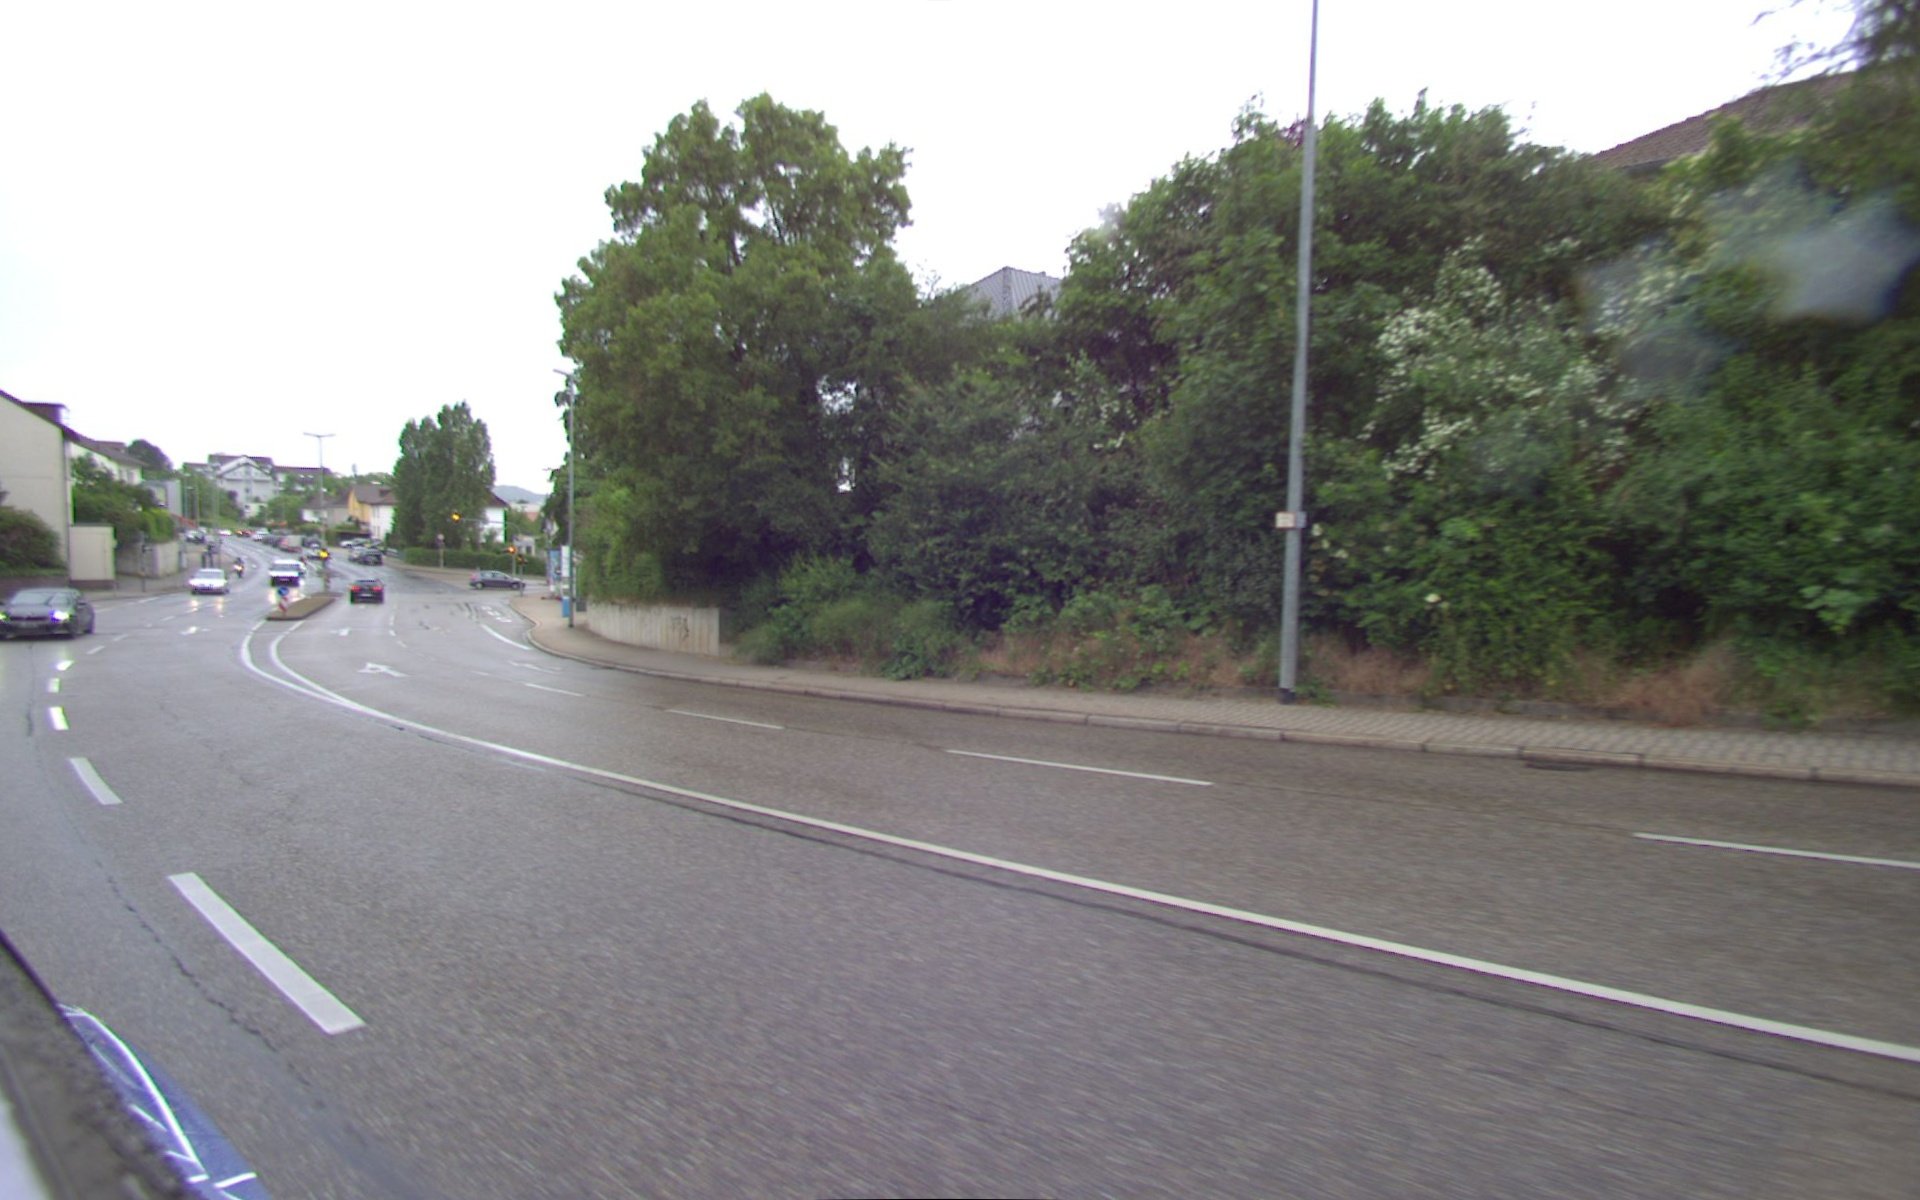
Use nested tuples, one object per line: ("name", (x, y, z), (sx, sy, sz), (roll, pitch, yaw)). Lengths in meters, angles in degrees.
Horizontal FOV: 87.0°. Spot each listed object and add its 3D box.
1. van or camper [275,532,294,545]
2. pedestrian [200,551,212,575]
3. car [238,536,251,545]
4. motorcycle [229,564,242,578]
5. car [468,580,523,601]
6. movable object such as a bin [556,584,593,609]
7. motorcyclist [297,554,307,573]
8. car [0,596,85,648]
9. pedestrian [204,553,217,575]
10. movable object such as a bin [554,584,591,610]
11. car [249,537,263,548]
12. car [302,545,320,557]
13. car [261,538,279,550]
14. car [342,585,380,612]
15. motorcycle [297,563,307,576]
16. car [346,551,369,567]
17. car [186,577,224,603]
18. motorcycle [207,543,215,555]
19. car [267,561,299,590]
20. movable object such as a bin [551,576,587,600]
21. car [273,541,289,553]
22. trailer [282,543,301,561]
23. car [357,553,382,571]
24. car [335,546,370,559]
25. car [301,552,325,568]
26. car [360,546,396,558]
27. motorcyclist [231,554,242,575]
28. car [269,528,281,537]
("van or camper", (-112.801, -10.264, 168.945), (2.156, 2.028, 5.145), (-1, 5, -40))
("pedestrian", (-64.135, -3.122, 86.077), (0.786, 2.028, 0.737), (0, 4, -32))
("car", (-127.850, -10.595, 180.789), (1.690, 1.513, 4.008), (-1, 5, -39))
("motorcycle", (-59.854, -2.395, 83.637), (0.751, 0.959, 2.449), (0, 5, -33))
("car", (-37.529, -0.768, 81.714), (3.988, 1.498, 1.848), (1, 4, -26))
("movable object such as a bin", (-24.467, -0.201, 64.268), (2.029, 1.526, 1.348), (1, 2, -27))
("motorcyclist", (-57.259, -3.172, 88.043), (0.749, 1.614, 0.811), (0, 5, -32))
("car", (-28.167, 0.630, 30.983), (1.812, 1.468, 4.009), (0, 0, -37))
("pedestrian", (-64.806, -3.124, 87.469), (0.783, 1.793, 1.015), (1, 4, -32))
("movable object such as a bin", (-25.115, -0.205, 65.604), (2.029, 1.580, 1.587), (1, 2, -27))
("car", (-115.213, -9.472, 165.634), (1.812, 1.567, 4.783), (0, 5, -36))
("car", (-95.329, -7.208, 148.682), (1.781, 1.426, 4.009), (0, 4, -38))
("car", (-105.129, -8.581, 154.164), (1.968, 1.585, 4.009), (0, 5, -38))
("car", (-36.179, -0.090, 61.066), (1.866, 1.498, 4.247), (1, 1, -32))
("motorcycle", (-57.259, -2.632, 88.076), (0.751, 0.959, 2.449), (0, 5, -33))
("car", (-69.412, -4.685, 116.549), (1.781, 1.579, 4.152), (0, 5, -38))
("car", (-48.022, -0.648, 64.401), (1.811, 1.492, 4.011), (0, 3, -35))
("motorcycle", (-89.623, -6.062, 121.084), (0.683, 1.334, 2.484), (0, 4, -40))
("car", (-51.163, -1.882, 76.438), (1.925, 1.884, 4.759), (0, 4, -35))
("movable object such as a bin", (-25.960, -0.799, 67.200), (2.029, 1.580, 1.587), (1, 2, -27))
("car", (-96.864, -7.559, 144.419), (1.816, 1.563, 4.396), (1, 3, -34))
("trailer", (-87.392, -6.324, 132.342), (1.870, 2.195, 4.048), (0, 3, -32))
("car", (-65.059, -4.232, 111.440), (1.781, 1.681, 4.609), (0, 5, -38))
("car", (-89.271, -7.011, 148.740), (1.841, 1.495, 4.052), (5, 0, 44))
("car", (-75.354, -4.651, 117.764), (1.800, 1.669, 4.475), (0, 4, -40))
("car", (-78.549, -6.465, 136.565), (3.937, 1.430, 1.888), (-4, 7, -38))
("motorcyclist", (-59.843, -2.941, 83.686), (0.749, 1.614, 0.810), (0, 5, -35))
("car", (-144.182, -14.167, 212.986), (1.968, 1.585, 4.009), (-1, 5, -38))
